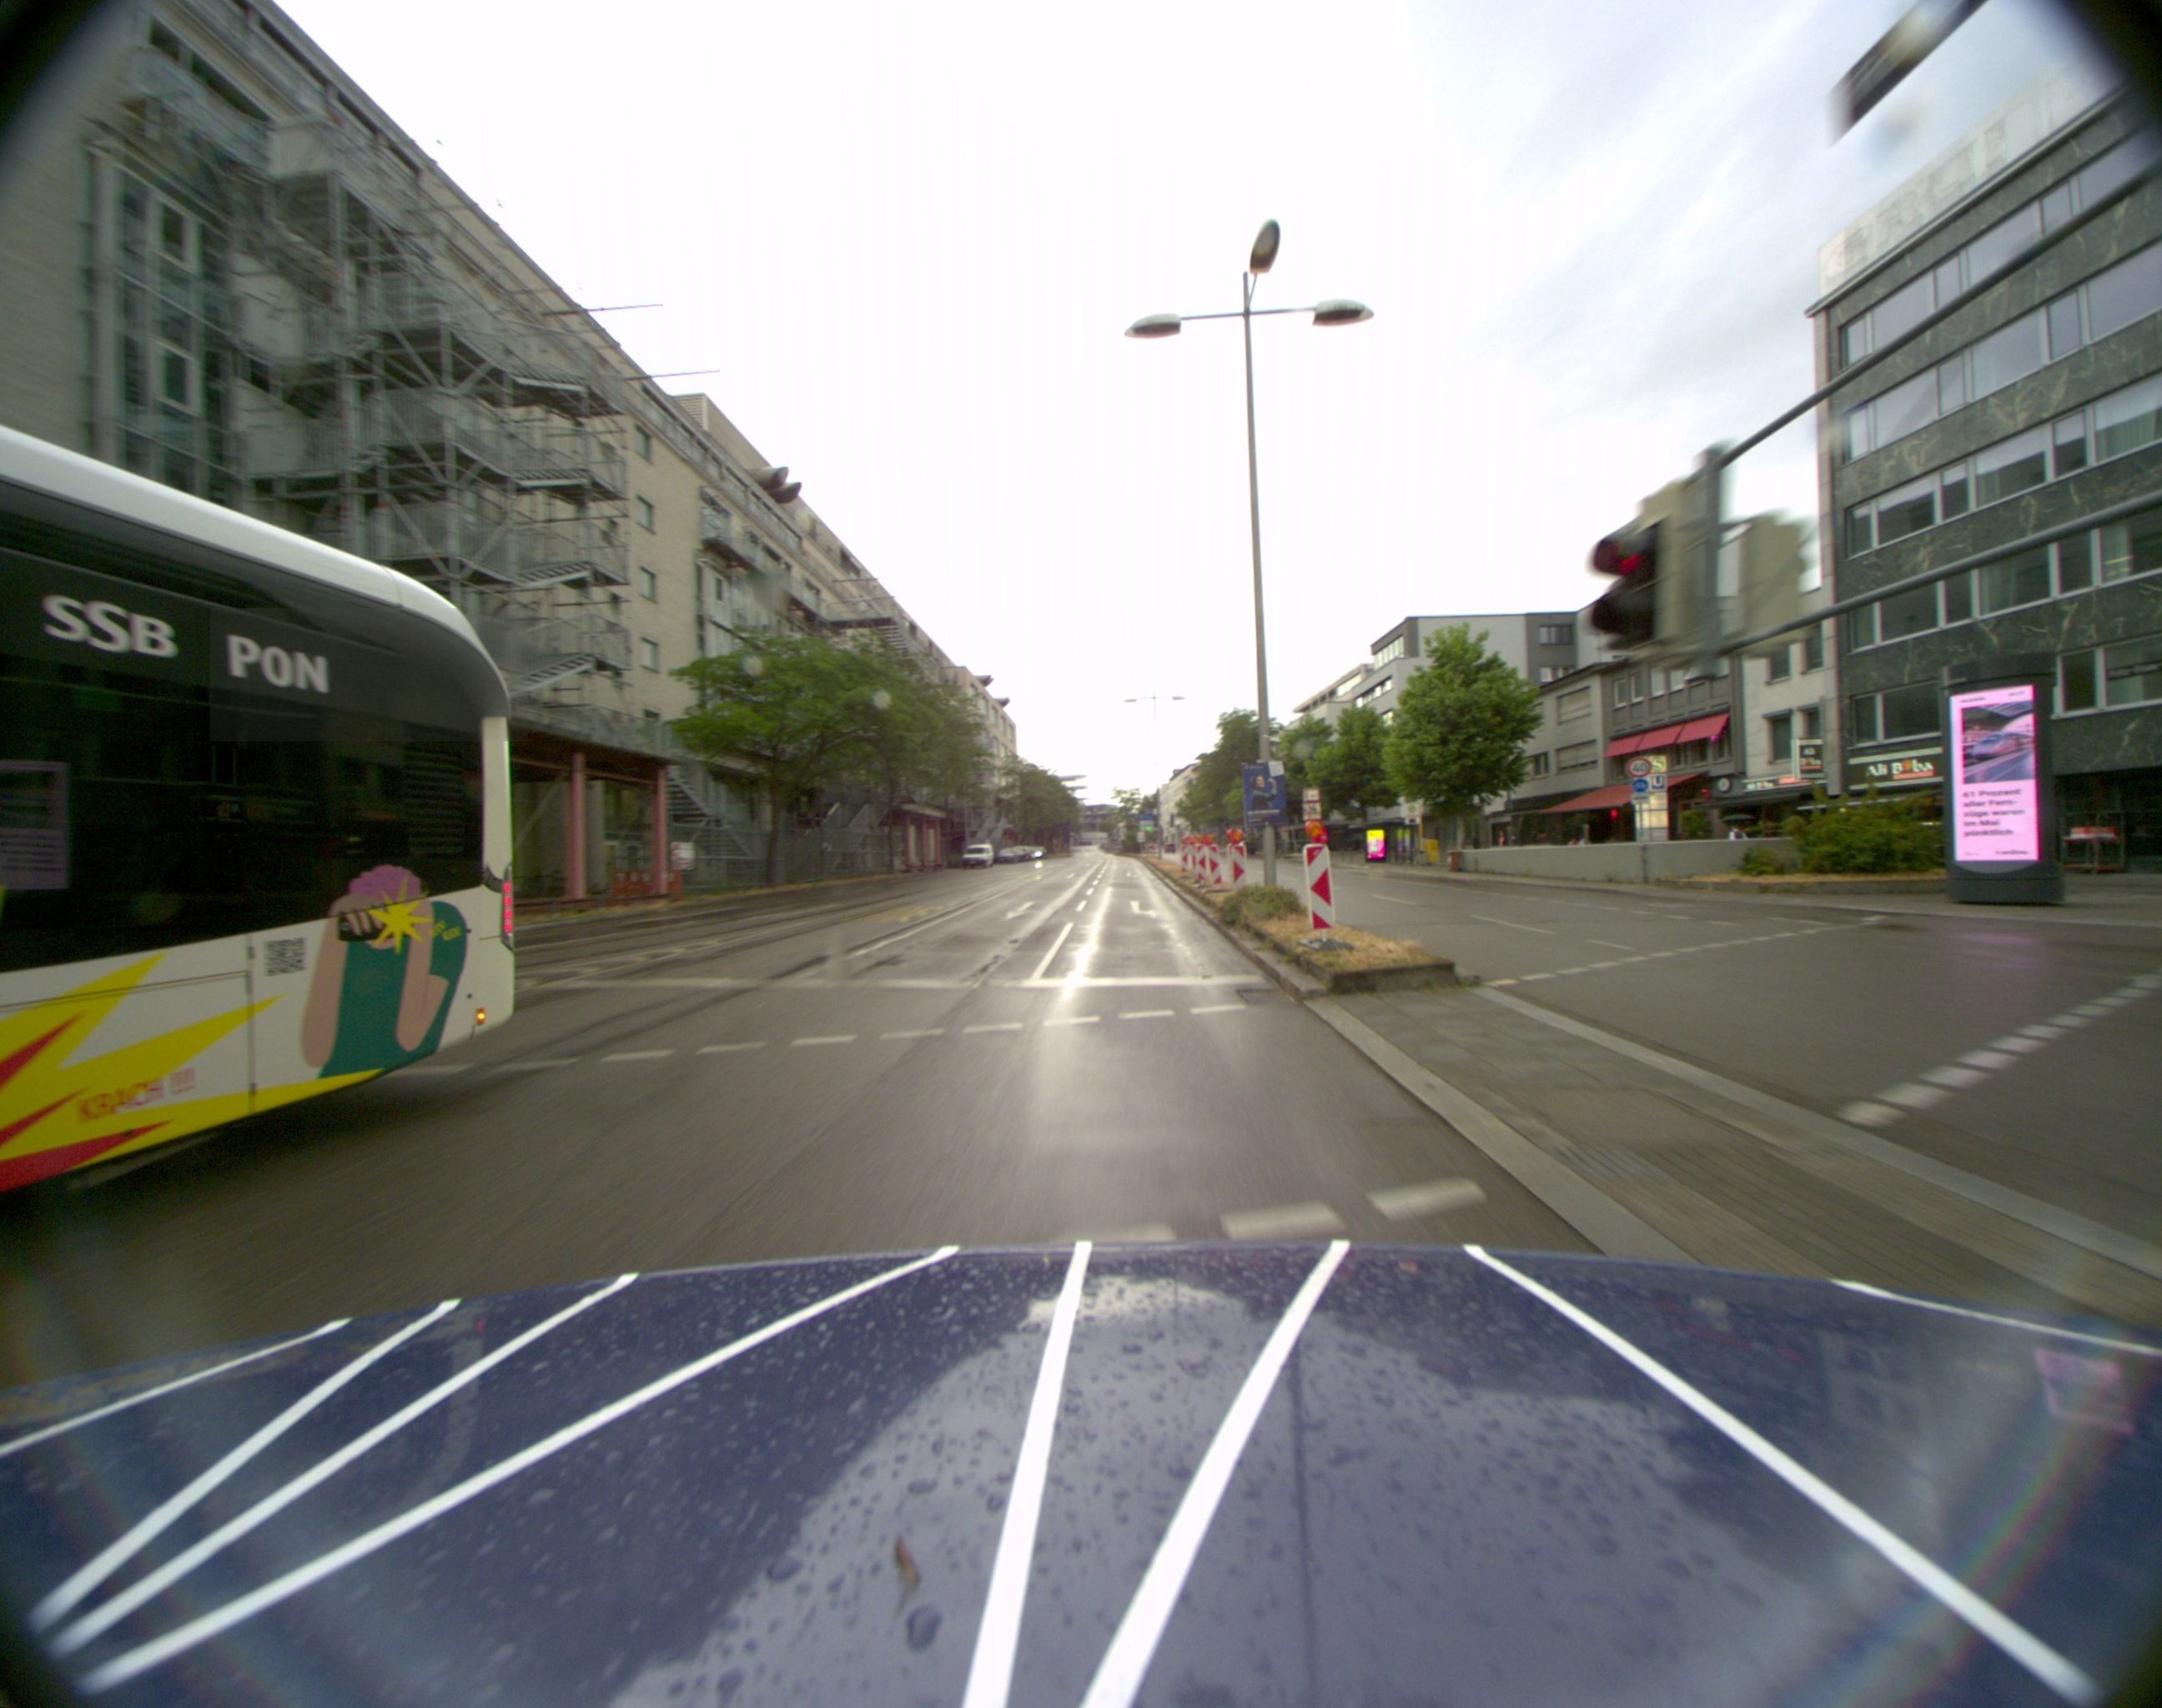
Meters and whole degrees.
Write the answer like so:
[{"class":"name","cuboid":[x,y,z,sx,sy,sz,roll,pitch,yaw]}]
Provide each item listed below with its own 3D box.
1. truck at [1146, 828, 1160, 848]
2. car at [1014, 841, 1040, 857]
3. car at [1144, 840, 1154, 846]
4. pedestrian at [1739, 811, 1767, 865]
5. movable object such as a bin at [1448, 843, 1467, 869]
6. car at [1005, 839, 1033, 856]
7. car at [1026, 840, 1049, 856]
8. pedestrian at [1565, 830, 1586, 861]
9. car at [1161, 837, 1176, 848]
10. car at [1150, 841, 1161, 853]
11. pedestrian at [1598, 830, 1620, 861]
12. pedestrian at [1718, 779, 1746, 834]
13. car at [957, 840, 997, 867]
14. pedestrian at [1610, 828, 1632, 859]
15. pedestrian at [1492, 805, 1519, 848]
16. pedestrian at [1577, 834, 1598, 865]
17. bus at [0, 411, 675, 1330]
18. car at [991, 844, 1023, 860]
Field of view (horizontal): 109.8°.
[{"class":"truck","cuboid":[13.339,-3.032,141.629,1.998,3.557,7.572,-1,1,1]},{"class":"car","cuboid":[-5.815,-0.555,82.005,2.146,1.552,4.816,-2,2,3]},{"class":"car","cuboid":[16.512,-2.706,184.879,1.693,1.501,4.287,-1,1,-8]},{"class":"pedestrian","cuboid":[25.142,-0.595,28.430,0.597,2.002,0.729,-1,2,23]},{"class":"movable object such as a bin","cuboid":[16.102,0.085,32.499,0.507,1.094,0.661,-2,2,1]},{"class":"car","cuboid":[-6.219,-0.674,76.539,2.146,1.486,4.816,-2,2,3]},{"class":"car","cuboid":[-4.999,-0.696,87.710,2.146,1.637,4.816,-2,2,3]},{"class":"pedestrian","cuboid":[25.061,-0.436,38.529,0.669,1.520,0.611,-1,2,6]},{"class":"car","cuboid":[16.571,-2.141,143.772,1.999,1.917,4.962,-2,2,-1]},{"class":"car","cuboid":[13.435,-1.349,137.118,1.998,2.002,4.000,-2,2,4]},{"class":"pedestrian","cuboid":[26.708,-0.422,38.441,0.669,1.520,0.611,-1,2,7]},{"class":"pedestrian","cuboid":[24.525,-1.779,28.628,0.597,2.002,0.729,-1,2,23]},{"class":"car","cuboid":[-7.907,-0.090,58.044,2.213,1.896,4.329,-2,2,3]},{"class":"pedestrian","cuboid":[26.763,-0.528,37.658,0.669,1.520,0.611,-1,2,6]},{"class":"pedestrian","cuboid":[18.215,-1.175,32.636,0.611,1.813,0.790,-3,2,-22]},{"class":"pedestrian","cuboid":[25.060,-0.228,37.599,0.669,1.520,0.611,-1,2,6]},{"class":"bus","cuboid":[-5.531,0.091,2.085,2.889,3.420,9.713,-2,0,4]},{"class":"car","cuboid":[-6.770,-0.219,69.770,2.146,1.329,4.816,-2,2,3]}]
